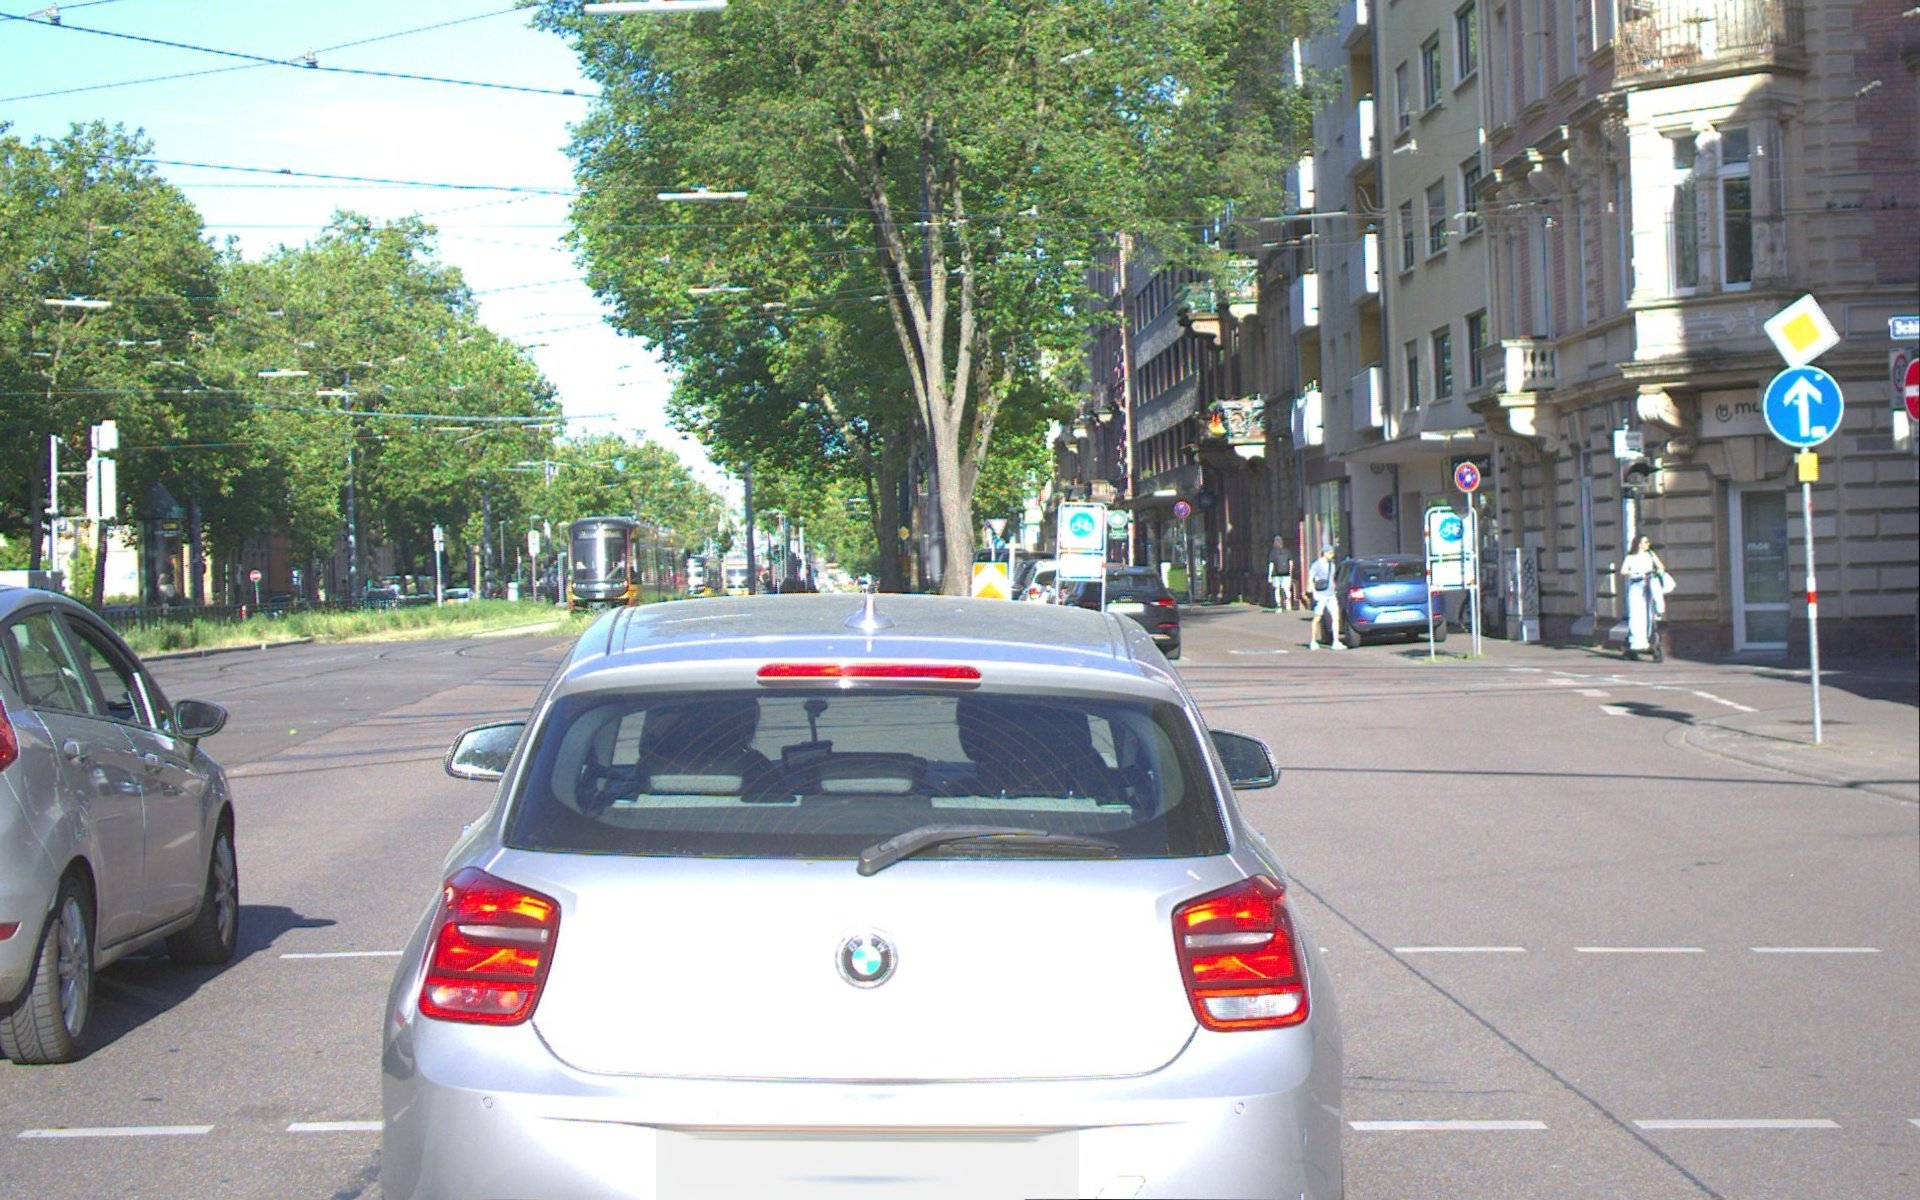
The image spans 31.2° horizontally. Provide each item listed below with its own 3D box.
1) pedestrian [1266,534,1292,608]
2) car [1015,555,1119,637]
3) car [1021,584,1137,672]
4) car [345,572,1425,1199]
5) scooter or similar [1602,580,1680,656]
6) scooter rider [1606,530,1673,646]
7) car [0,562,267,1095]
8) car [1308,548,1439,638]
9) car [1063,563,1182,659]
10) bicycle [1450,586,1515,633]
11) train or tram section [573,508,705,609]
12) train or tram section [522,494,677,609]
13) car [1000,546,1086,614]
[{"bbox_3d":[7.826,-0.703,84.389,0.505,1.796,0.805,-1,1,-1],"label":"pedestrian"},{"bbox_3d":[1.985,-0.100,64.672,1.724,1.502,3.555,0,1,-2],"label":"car"},{"bbox_3d":[2.014,0.461,59.050,1.743,1.428,3.555,0,1,-2],"label":"car"},{"bbox_3d":[-0.154,0.683,7.564,1.740,1.462,4.000,0,1,-1],"label":"car"},{"bbox_3d":[9.003,0.236,45.483,0.337,0.984,1.284,-2,1,-22],"label":"scooter or similar"},{"bbox_3d":[8.985,-0.161,45.476,0.465,1.500,0.811,-2,1,-22],"label":"scooter rider"},{"bbox_3d":[-3.445,0.624,11.409,1.609,1.462,3.890,-1,1,-2],"label":"car"},{"bbox_3d":[7.121,-0.135,59.448,1.735,1.514,3.637,0,1,-1],"label":"car"},{"bbox_3d":[2.491,0.148,53.484,1.735,1.428,3.678,0,1,1],"label":"car"},{"bbox_3d":[9.062,0.162,59.688,0.754,0.768,1.945,-1,1,-2],"label":"bicycle"},{"bbox_3d":[-13.175,-1.728,142.923,4.005,3.852,17.489,-1,1,-1],"label":"train or tram section"},{"bbox_3d":[-12.946,-1.746,125.443,3.969,3.852,17.489,-1,1,-1],"label":"train or tram section"},{"bbox_3d":[1.844,-0.465,77.448,1.724,1.502,3.555,0,1,-2],"label":"car"}]
